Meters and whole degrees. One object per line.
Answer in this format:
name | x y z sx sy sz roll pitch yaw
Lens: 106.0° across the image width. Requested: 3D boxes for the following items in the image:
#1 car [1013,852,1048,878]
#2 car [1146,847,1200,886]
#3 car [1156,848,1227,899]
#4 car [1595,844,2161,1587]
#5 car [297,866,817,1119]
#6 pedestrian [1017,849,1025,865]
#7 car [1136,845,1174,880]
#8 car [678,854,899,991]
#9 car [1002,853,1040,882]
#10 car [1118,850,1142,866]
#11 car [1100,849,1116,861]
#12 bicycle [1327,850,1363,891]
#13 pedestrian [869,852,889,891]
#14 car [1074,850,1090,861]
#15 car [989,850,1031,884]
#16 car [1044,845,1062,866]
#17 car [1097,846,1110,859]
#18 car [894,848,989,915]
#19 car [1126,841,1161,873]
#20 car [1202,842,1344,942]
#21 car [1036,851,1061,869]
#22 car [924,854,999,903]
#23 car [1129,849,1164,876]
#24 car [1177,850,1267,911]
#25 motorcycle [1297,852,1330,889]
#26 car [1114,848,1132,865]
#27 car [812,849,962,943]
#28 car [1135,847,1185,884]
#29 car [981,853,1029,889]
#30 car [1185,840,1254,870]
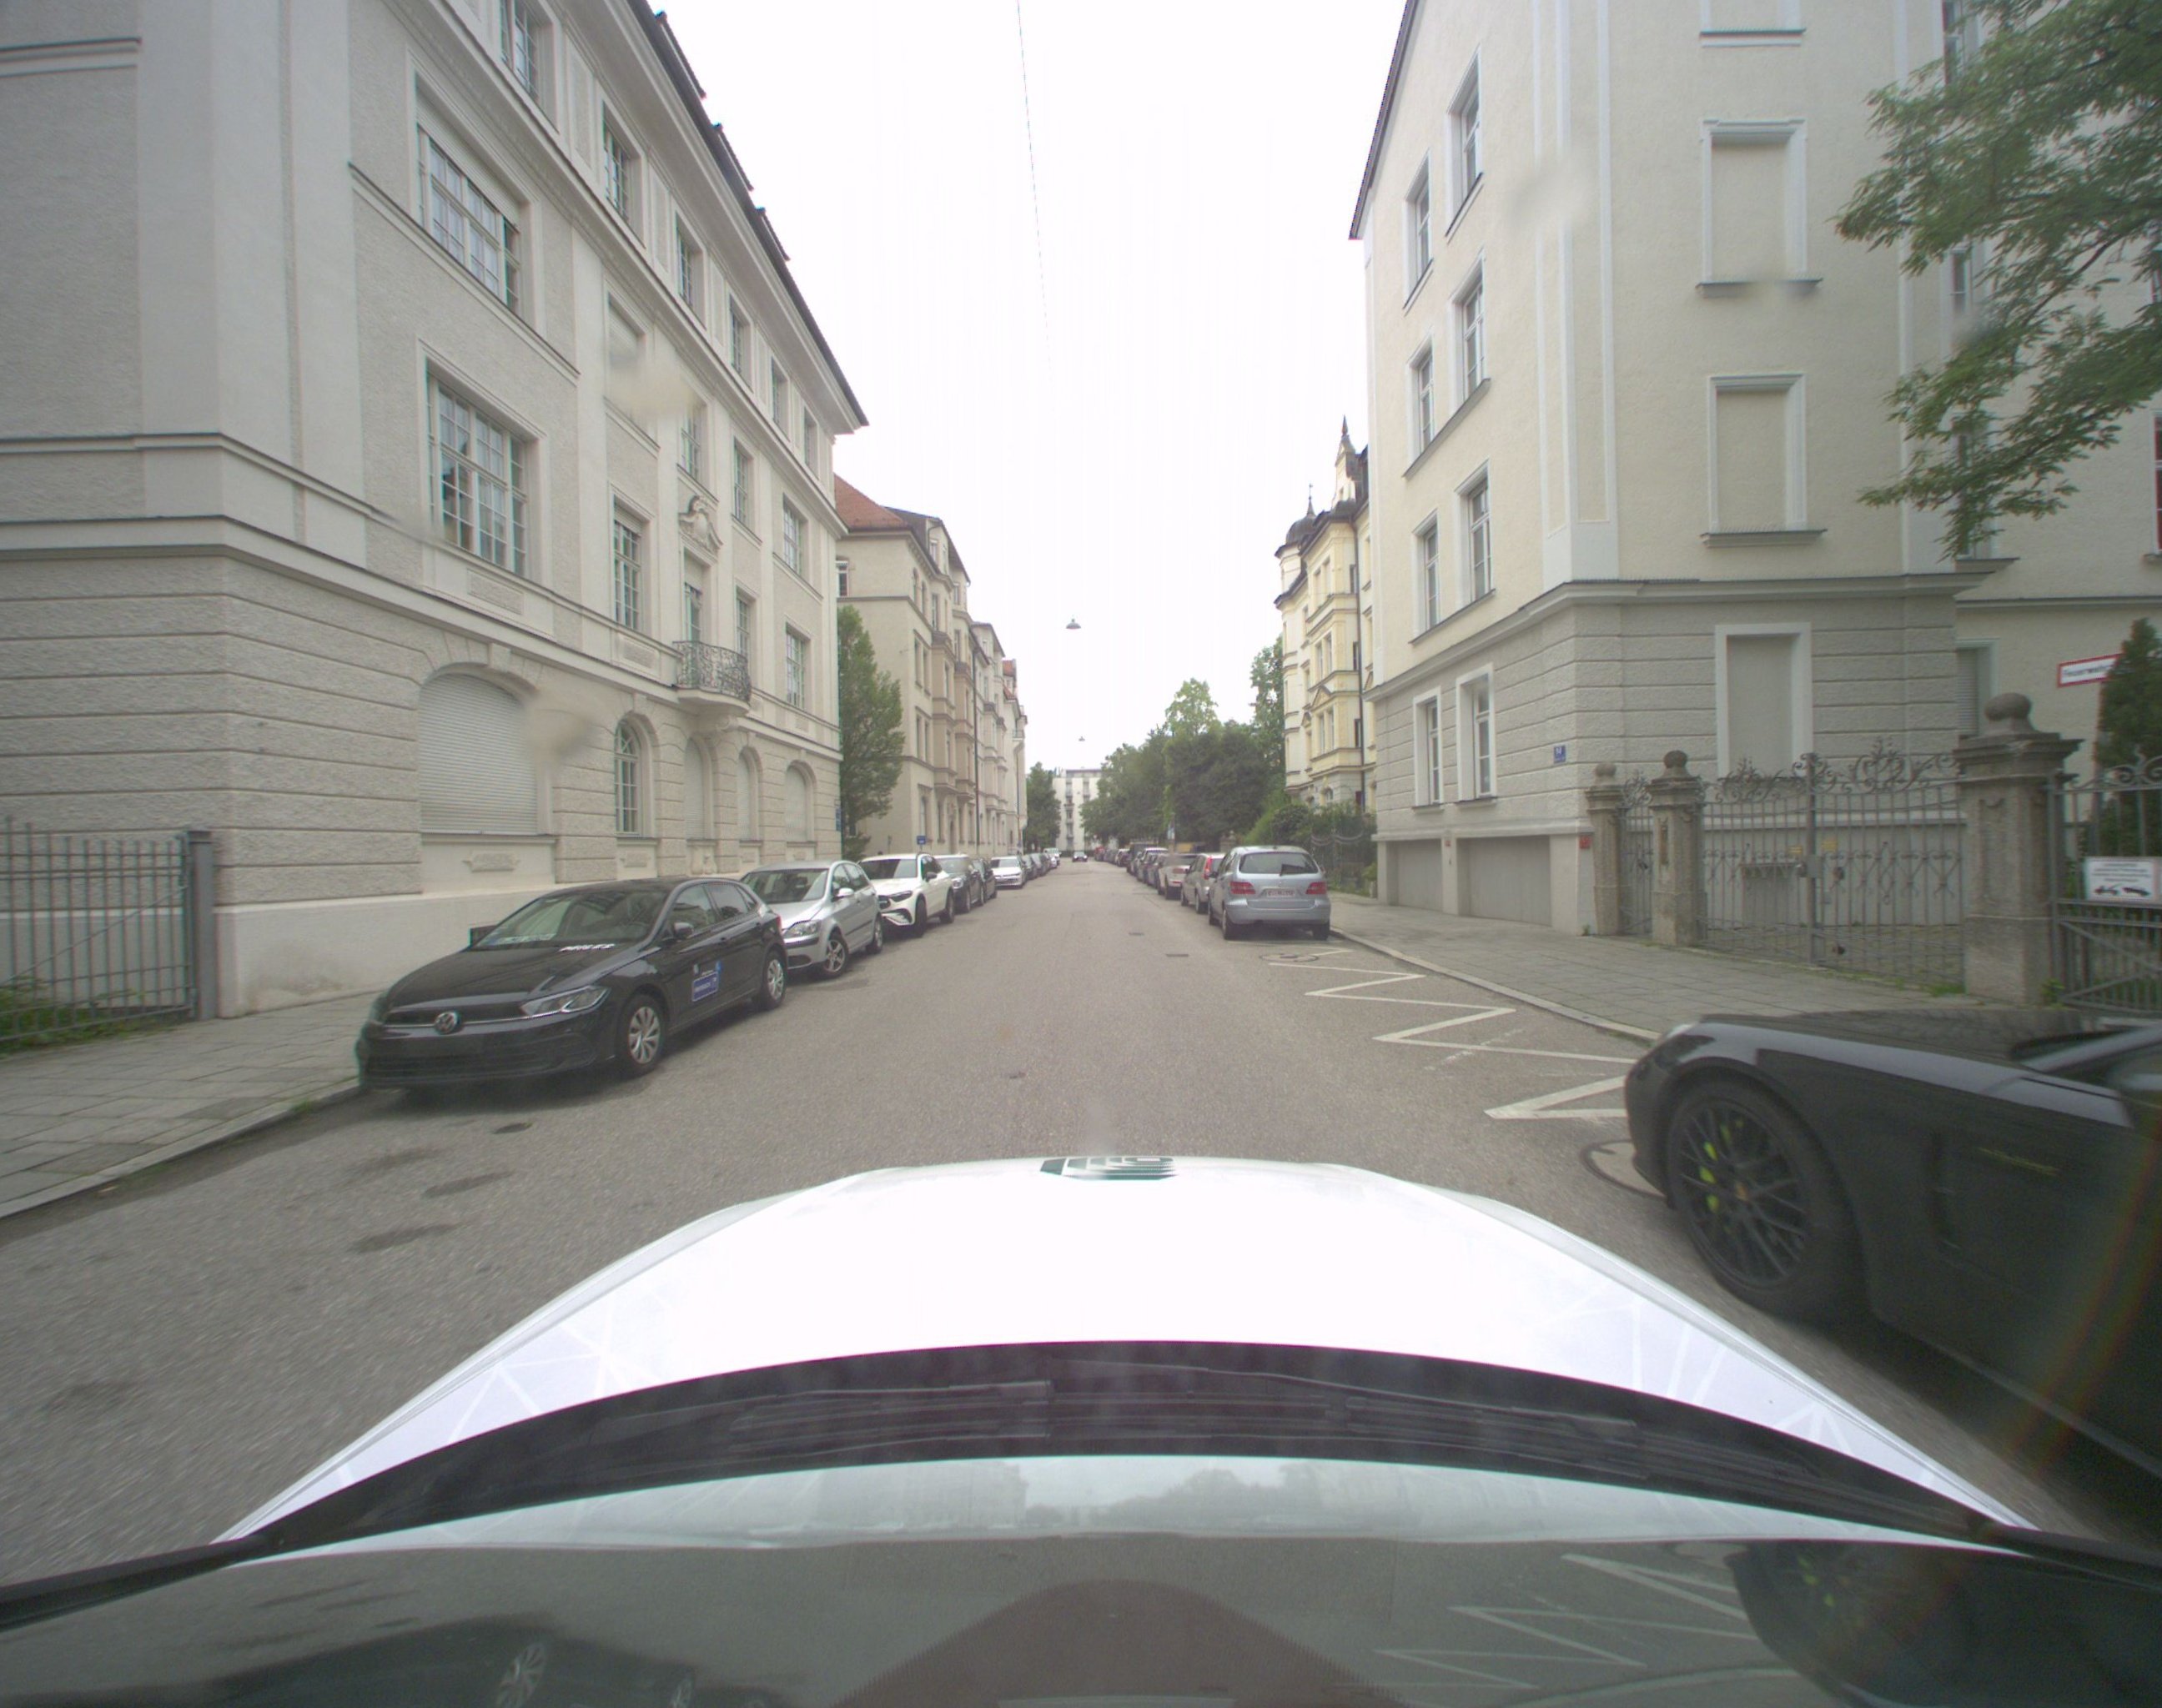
car | -3.219 0.705 52.865 1.830 1.435 4.246 -4 1 1
car | 3.732 0.488 33.737 1.679 1.504 4.015 -1 0 -2
car | 3.460 0.563 26.124 1.778 1.504 4.065 -1 0 1
car | 3.178 0.733 1.041 1.988 1.457 4.710 -2 0 -1
car | -4.052 0.920 7.353 1.786 1.415 4.279 -4 0 1
pedestrian | -6.360 0.269 86.532 0.791 1.679 0.698 -2 0 -7
car | 3.897 0.432 43.439 1.716 1.769 4.414 1 0 1
car | -4.034 0.828 12.048 1.778 1.541 4.253 -4 0 -2
car | -3.438 0.730 47.366 1.828 1.434 4.552 -3 1 0
car | 4.242 0.344 71.133 1.832 1.413 4.343 0 0 1
car | 3.665 0.165 109.850 1.834 1.519 3.943 0 0 -3
bicycle | 7.602 0.449 23.527 0.432 1.125 1.882 -2 0 1
pedestrian | -8.673 0.756 35.062 0.671 1.626 0.630 -2 0 -2
car | 0.116 0.145 109.160 1.869 1.428 4.406 -1 0 -2
car | -3.643 0.654 42.550 1.765 1.518 4.383 -4 1 -1
car | -3.128 0.139 92.103 1.881 2.127 4.704 -4 1 -1
car | 3.407 -0.220 121.662 1.829 1.926 4.008 1 1 3
car | -3.762 0.684 22.636 1.830 1.618 4.245 -1 1 0
car | 4.034 0.176 53.170 1.944 1.954 4.666 0 1 0
car | 3.392 0.576 15.217 1.815 1.569 4.404 1 1 3
car | -2.914 0.546 73.592 1.830 1.438 4.276 -4 1 1
car | -3.858 0.747 27.000 1.781 1.412 4.367 -1 1 0
car | 3.858 0.497 48.241 1.718 1.518 3.629 1 0 -1
car | 3.485 0.618 20.720 1.748 1.406 3.452 -1 0 1
motorcycle | 7.347 0.505 25.819 0.604 1.112 1.967 -2 0 4
car | 4.185 0.208 81.143 1.509 1.661 3.671 0 0 -2
car | -3.855 0.749 17.066 1.908 1.618 4.573 -1 1 1
car | 3.650 0.475 38.450 1.746 1.610 4.420 0 1 -3
car | -3.483 0.760 37.980 1.831 1.434 4.243 -3 1 -1
car | 9.874 0.064 58.134 4.523 1.950 1.900 -2 2 -6
